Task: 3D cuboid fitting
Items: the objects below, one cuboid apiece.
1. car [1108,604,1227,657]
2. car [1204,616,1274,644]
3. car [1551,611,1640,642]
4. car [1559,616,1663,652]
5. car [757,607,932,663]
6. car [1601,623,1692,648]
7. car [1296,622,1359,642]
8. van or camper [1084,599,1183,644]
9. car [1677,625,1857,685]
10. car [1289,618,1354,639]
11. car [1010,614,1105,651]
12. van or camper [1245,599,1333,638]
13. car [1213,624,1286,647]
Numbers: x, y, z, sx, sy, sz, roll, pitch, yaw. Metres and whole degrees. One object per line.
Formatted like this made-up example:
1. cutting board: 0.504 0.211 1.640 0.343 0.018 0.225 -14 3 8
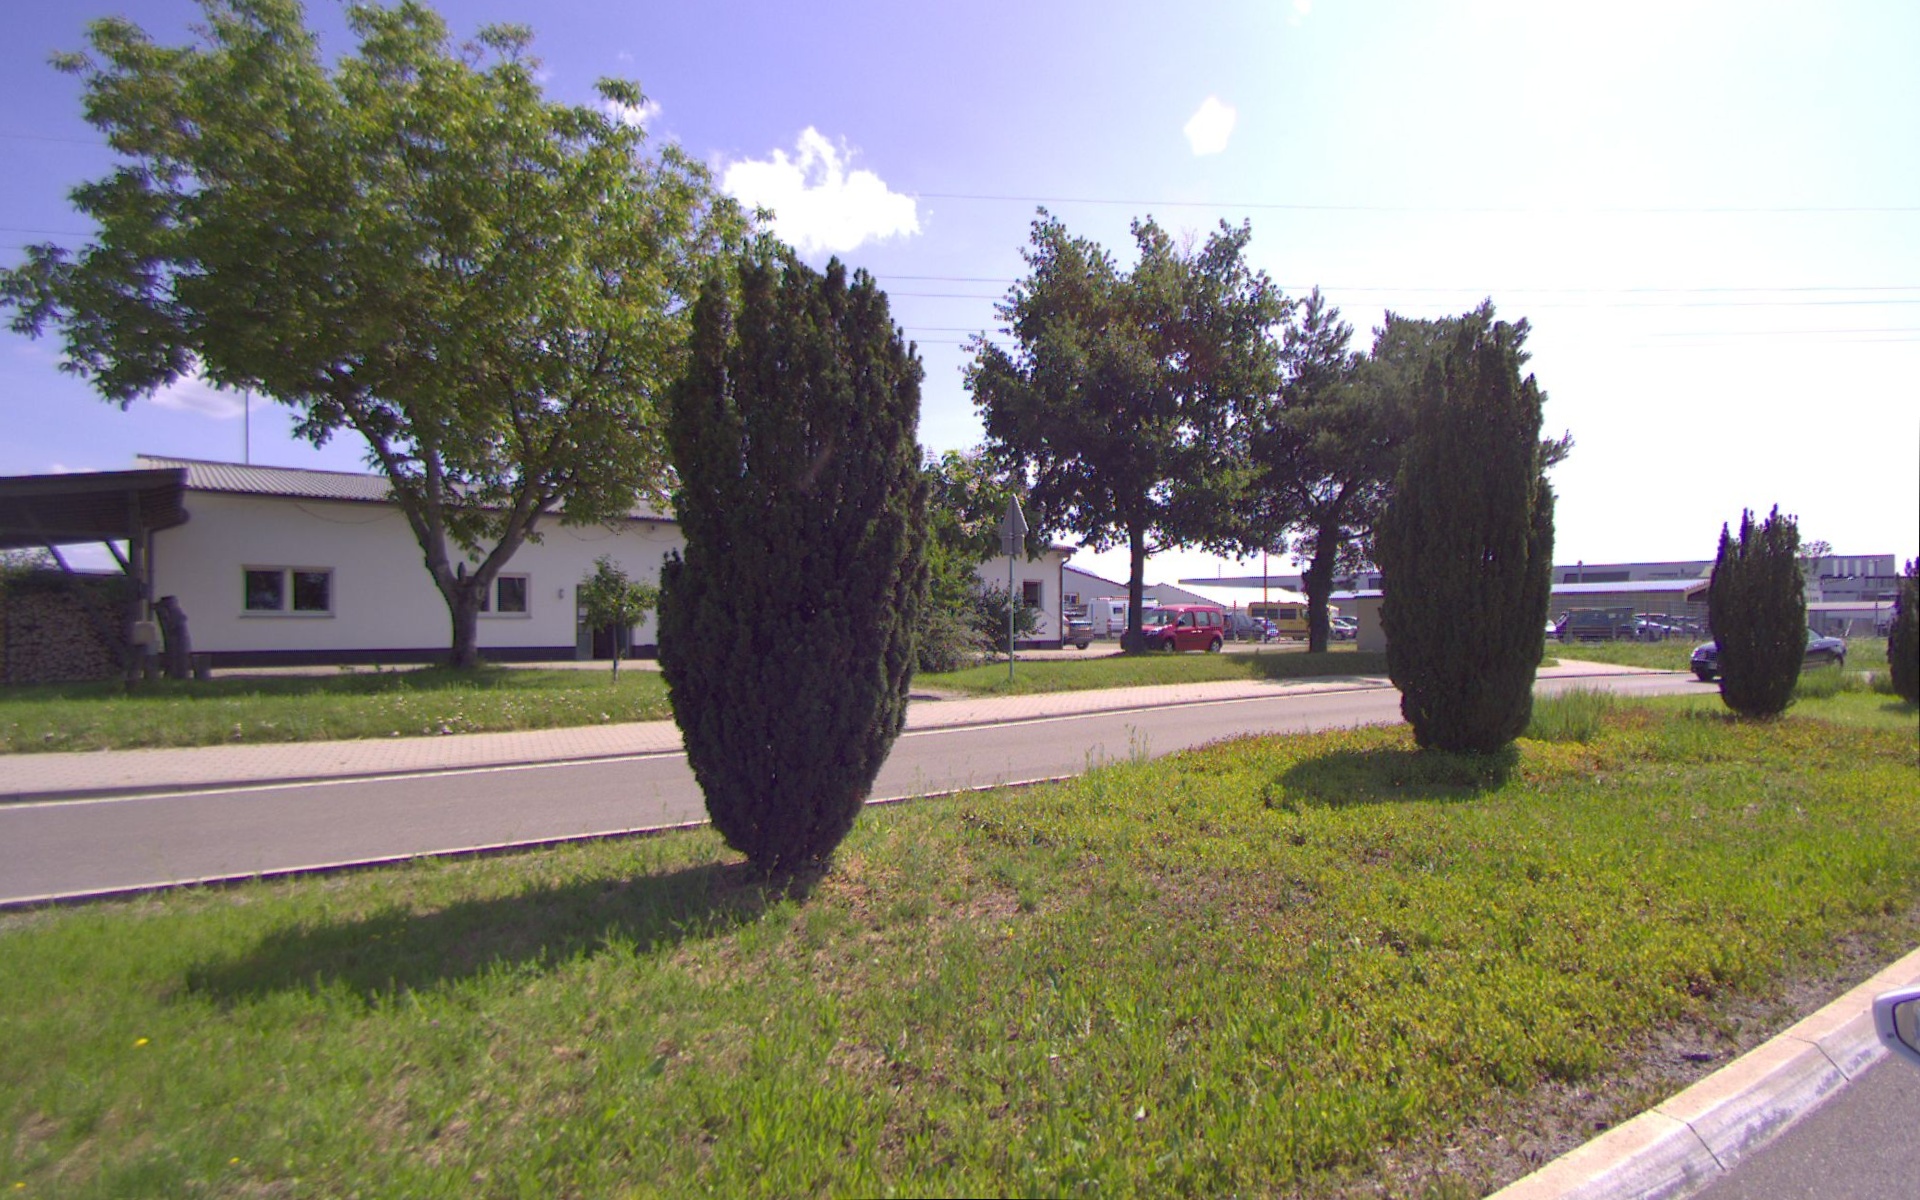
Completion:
1. car: 7.403 1.066 35.626 4.194 1.767 1.977 1 -2 -39
2. car: 15.080 1.617 54.205 3.972 1.452 1.901 1 -2 -43
3. car: 30.483 1.270 48.285 3.506 1.420 1.798 0 -1 29
4. car: 32.088 1.651 49.641 4.031 1.727 1.722 -1 -2 24
5. car: -3.164 0.963 27.891 4.474 1.427 1.980 1 -2 -37
6. car: 38.808 2.003 56.908 3.924 1.327 1.942 0 -1 24
7. car: 25.108 2.175 68.629 3.924 1.327 1.942 0 -1 24
8. van or camper: 10.678 1.314 61.533 6.709 2.634 1.979 1 -1 -38
9. car: 20.492 1.344 25.482 4.805 1.412 1.891 1 -2 -29
10. car: 23.973 1.890 66.587 3.924 1.327 1.942 0 -1 24
11. car: 4.267 1.413 44.483 1.922 1.545 3.950 1 -1 -42
12. van or camper: 21.128 1.217 64.500 5.239 2.407 1.893 -1 -2 24
13. car: 17.714 2.137 61.509 1.980 1.327 3.961 1 -1 -35
